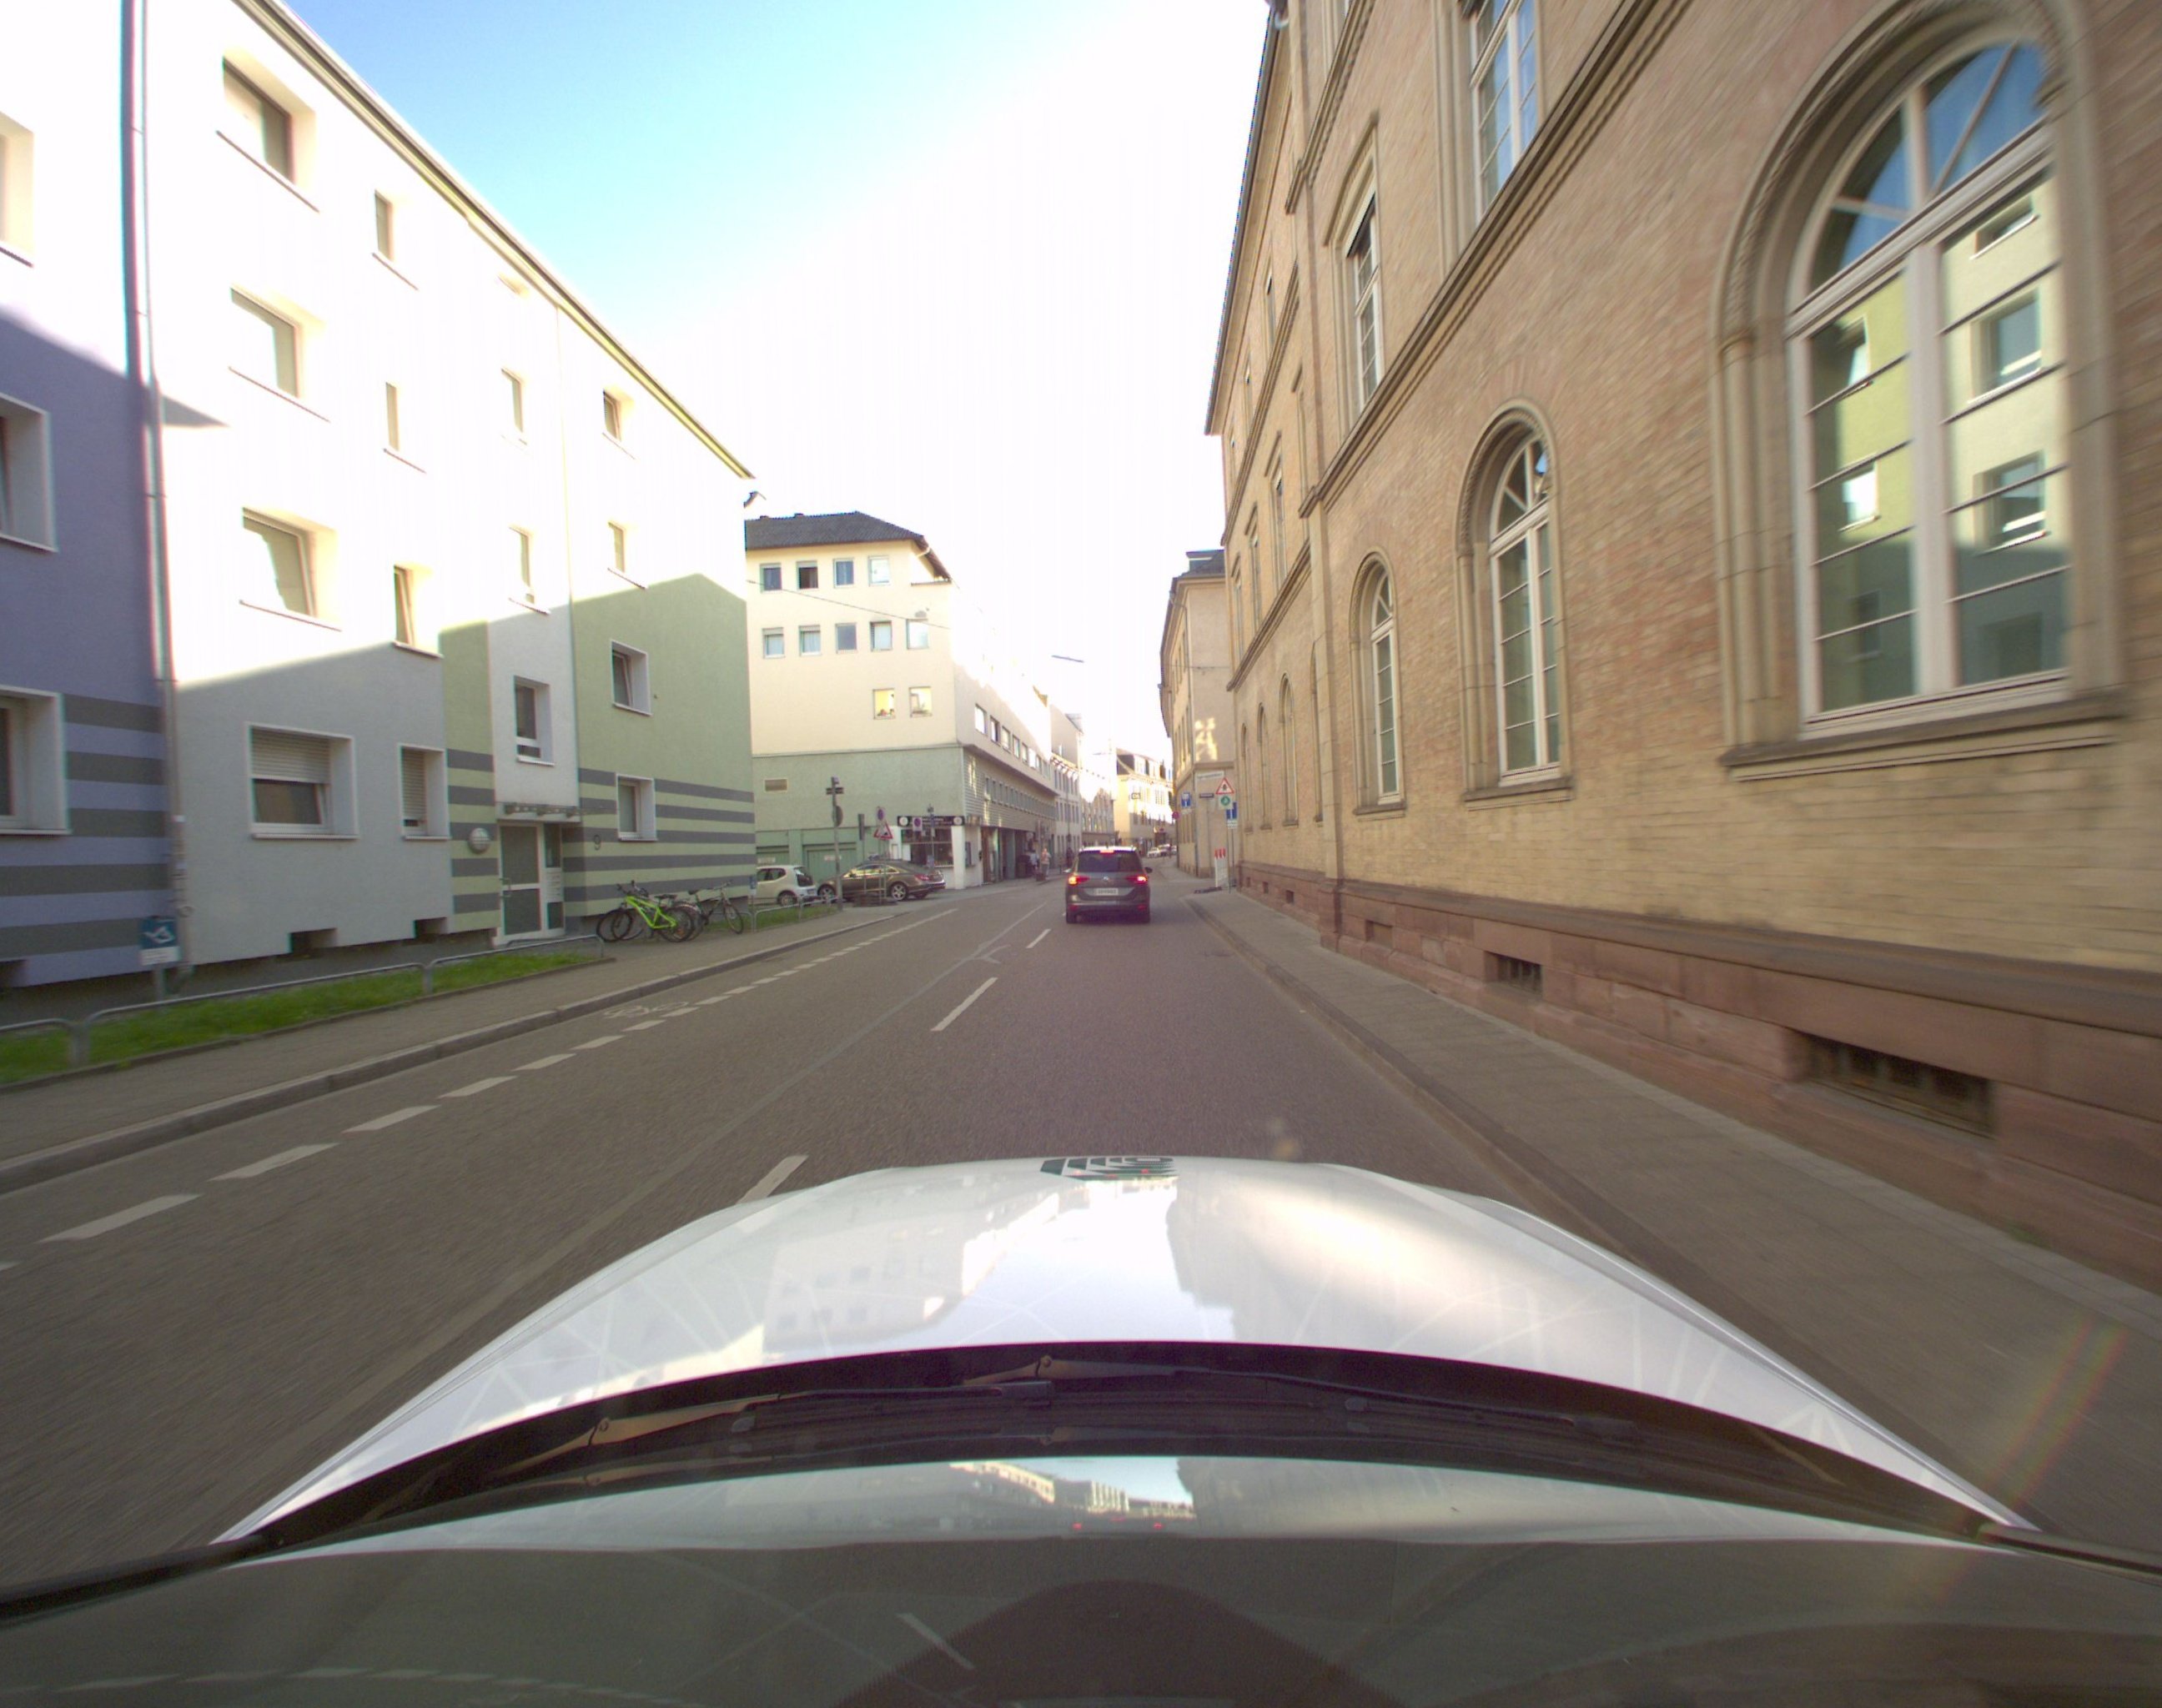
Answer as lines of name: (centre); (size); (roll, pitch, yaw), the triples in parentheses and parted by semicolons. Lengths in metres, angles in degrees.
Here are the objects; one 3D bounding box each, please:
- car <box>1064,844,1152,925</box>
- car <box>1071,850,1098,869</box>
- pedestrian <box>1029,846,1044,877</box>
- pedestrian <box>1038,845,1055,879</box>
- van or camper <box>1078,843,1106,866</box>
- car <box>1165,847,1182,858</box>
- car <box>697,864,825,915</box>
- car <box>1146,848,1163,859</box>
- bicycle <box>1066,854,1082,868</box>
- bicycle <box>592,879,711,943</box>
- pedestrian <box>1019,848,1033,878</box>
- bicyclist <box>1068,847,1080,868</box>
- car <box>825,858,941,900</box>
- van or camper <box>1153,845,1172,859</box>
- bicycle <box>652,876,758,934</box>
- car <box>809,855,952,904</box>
car: (0.655, 0.603, 18.287); (1.754, 1.607, 4.003); (0, 0, 3)
car: (0.337, 0.445, 71.013); (1.855, 1.468, 3.842); (-2, 0, 8)
pedestrian: (-2.675, 0.424, 49.259); (0.550, 1.829, 0.735); (-2, 0, 26)
pedestrian: (-1.872, 0.430, 44.540); (0.550, 1.829, 0.735); (-2, 0, 26)
van or camper: (1.064, 0.034, 76.727); (1.982, 2.013, 4.494); (-2, 0, 9)
car: (15.341, -0.314, 134.719); (1.811, 1.726, 4.020); (-2, 0, 20)
car: (-10.731, 1.170, 27.448); (3.485, 1.442, 1.816); (-3, 1, 4)
car: (11.085, -0.116, 122.844); (1.720, 1.468, 4.018); (-2, 0, 17)
bicycle: (-0.543, 0.534, 64.384); (0.826, 1.054, 2.554); (-2, 0, 7)
bicycle: (-8.268, 1.082, 15.758); (1.931, 1.179, 0.611); (0, 0, -13)
pedestrian: (-3.432, 0.555, 50.764); (0.725, 1.829, 0.557); (-2, 0, 2)
bicyclist: (-0.556, 0.261, 64.313); (0.826, 1.561, 0.761); (-2, 0, 7)
car: (-8.019, 1.003, 33.225); (4.080, 1.442, 1.950); (-3, 1, 4)
van or camper: (12.891, -0.371, 128.515); (1.977, 2.013, 5.023); (-2, 0, 19)
bicycle: (-7.928, 1.062, 17.218); (1.927, 1.179, 0.612); (0, 0, -7)
car: (-7.265, 0.912, 29.710); (4.581, 1.541, 2.008); (-2, 0, 13)
